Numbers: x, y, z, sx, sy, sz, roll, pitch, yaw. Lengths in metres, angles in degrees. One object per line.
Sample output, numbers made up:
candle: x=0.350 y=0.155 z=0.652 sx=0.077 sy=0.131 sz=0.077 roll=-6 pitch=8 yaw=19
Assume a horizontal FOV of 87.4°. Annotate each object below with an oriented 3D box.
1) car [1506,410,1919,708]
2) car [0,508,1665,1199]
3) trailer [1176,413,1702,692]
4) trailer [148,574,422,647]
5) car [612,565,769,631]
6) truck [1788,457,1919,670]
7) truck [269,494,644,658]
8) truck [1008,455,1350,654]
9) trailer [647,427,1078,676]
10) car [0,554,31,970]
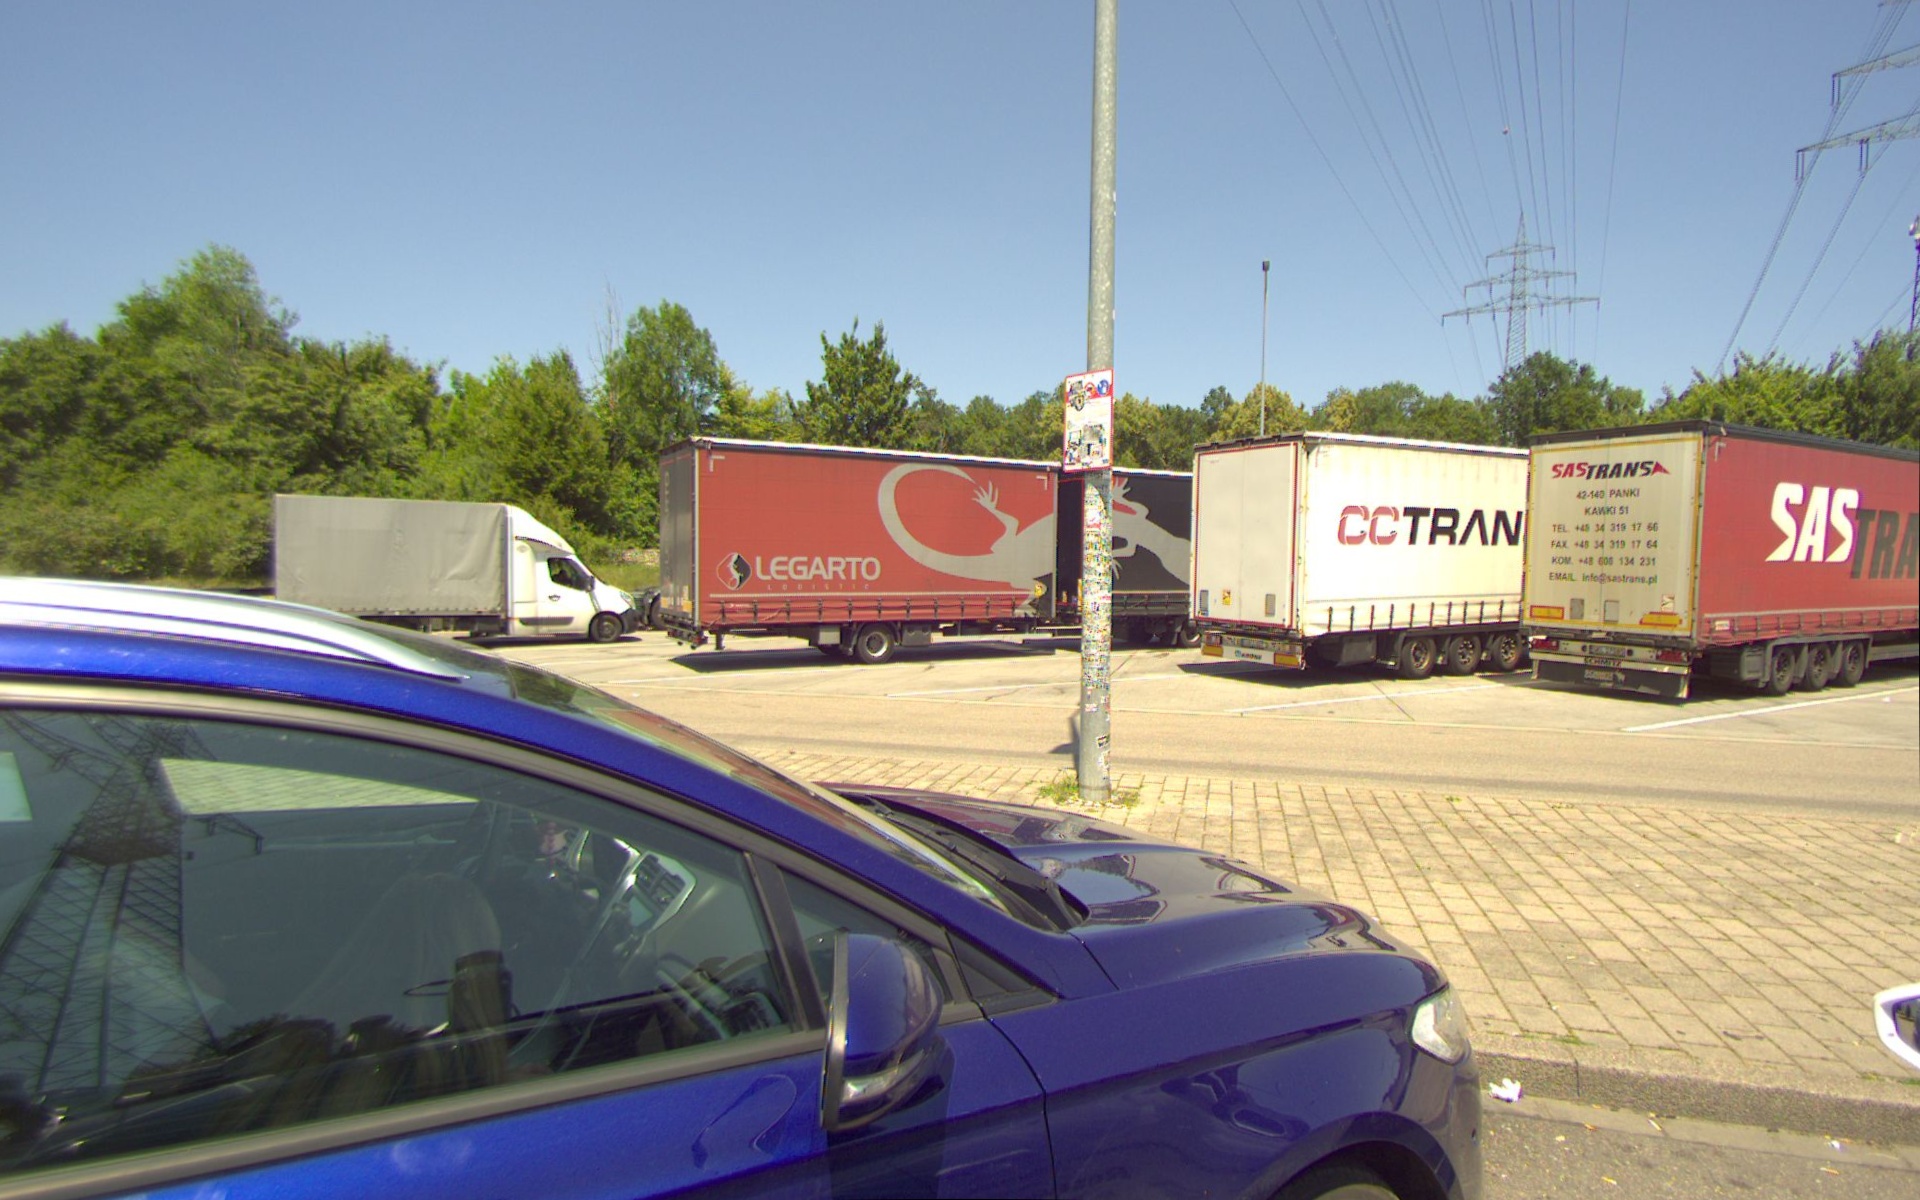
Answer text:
car: x=15.182 y=-0.694 z=18.436 sx=12.777 sy=4.169 sz=2.683 roll=-1 pitch=3 yaw=-30
car: x=-1.026 y=0.665 z=1.453 sx=4.380 sy=1.464 sz=1.771 roll=0 pitch=0 yaw=-32
trailer: x=10.078 y=-0.883 z=20.051 sx=12.786 sy=4.325 sz=2.800 roll=-1 pitch=2 yaw=-30
trailer: x=-15.982 y=0.238 z=24.173 sx=5.332 sy=1.617 sz=1.585 roll=0 pitch=0 yaw=-30
car: x=-7.635 y=-0.049 z=28.507 sx=3.953 sy=1.773 sz=1.902 roll=0 pitch=0 yaw=-30
truck: x=21.109 y=-0.774 z=21.845 sx=6.163 sy=4.169 sz=2.683 roll=-1 pitch=3 yaw=-30
truck: x=-11.147 y=-0.589 z=22.866 sx=7.219 sy=3.277 sz=2.308 roll=-2 pitch=3 yaw=-29
truck: x=5.571 y=-1.080 z=24.814 sx=8.683 sy=4.248 sz=2.800 roll=-1 pitch=2 yaw=-30
trailer: x=-1.777 y=-0.932 z=20.493 sx=8.389 sy=4.248 sz=2.800 roll=-1 pitch=2 yaw=-30
car: x=-4.652 y=0.551 z=2.105 sx=3.700 sy=1.432 sz=1.595 roll=0 pitch=0 yaw=-32
